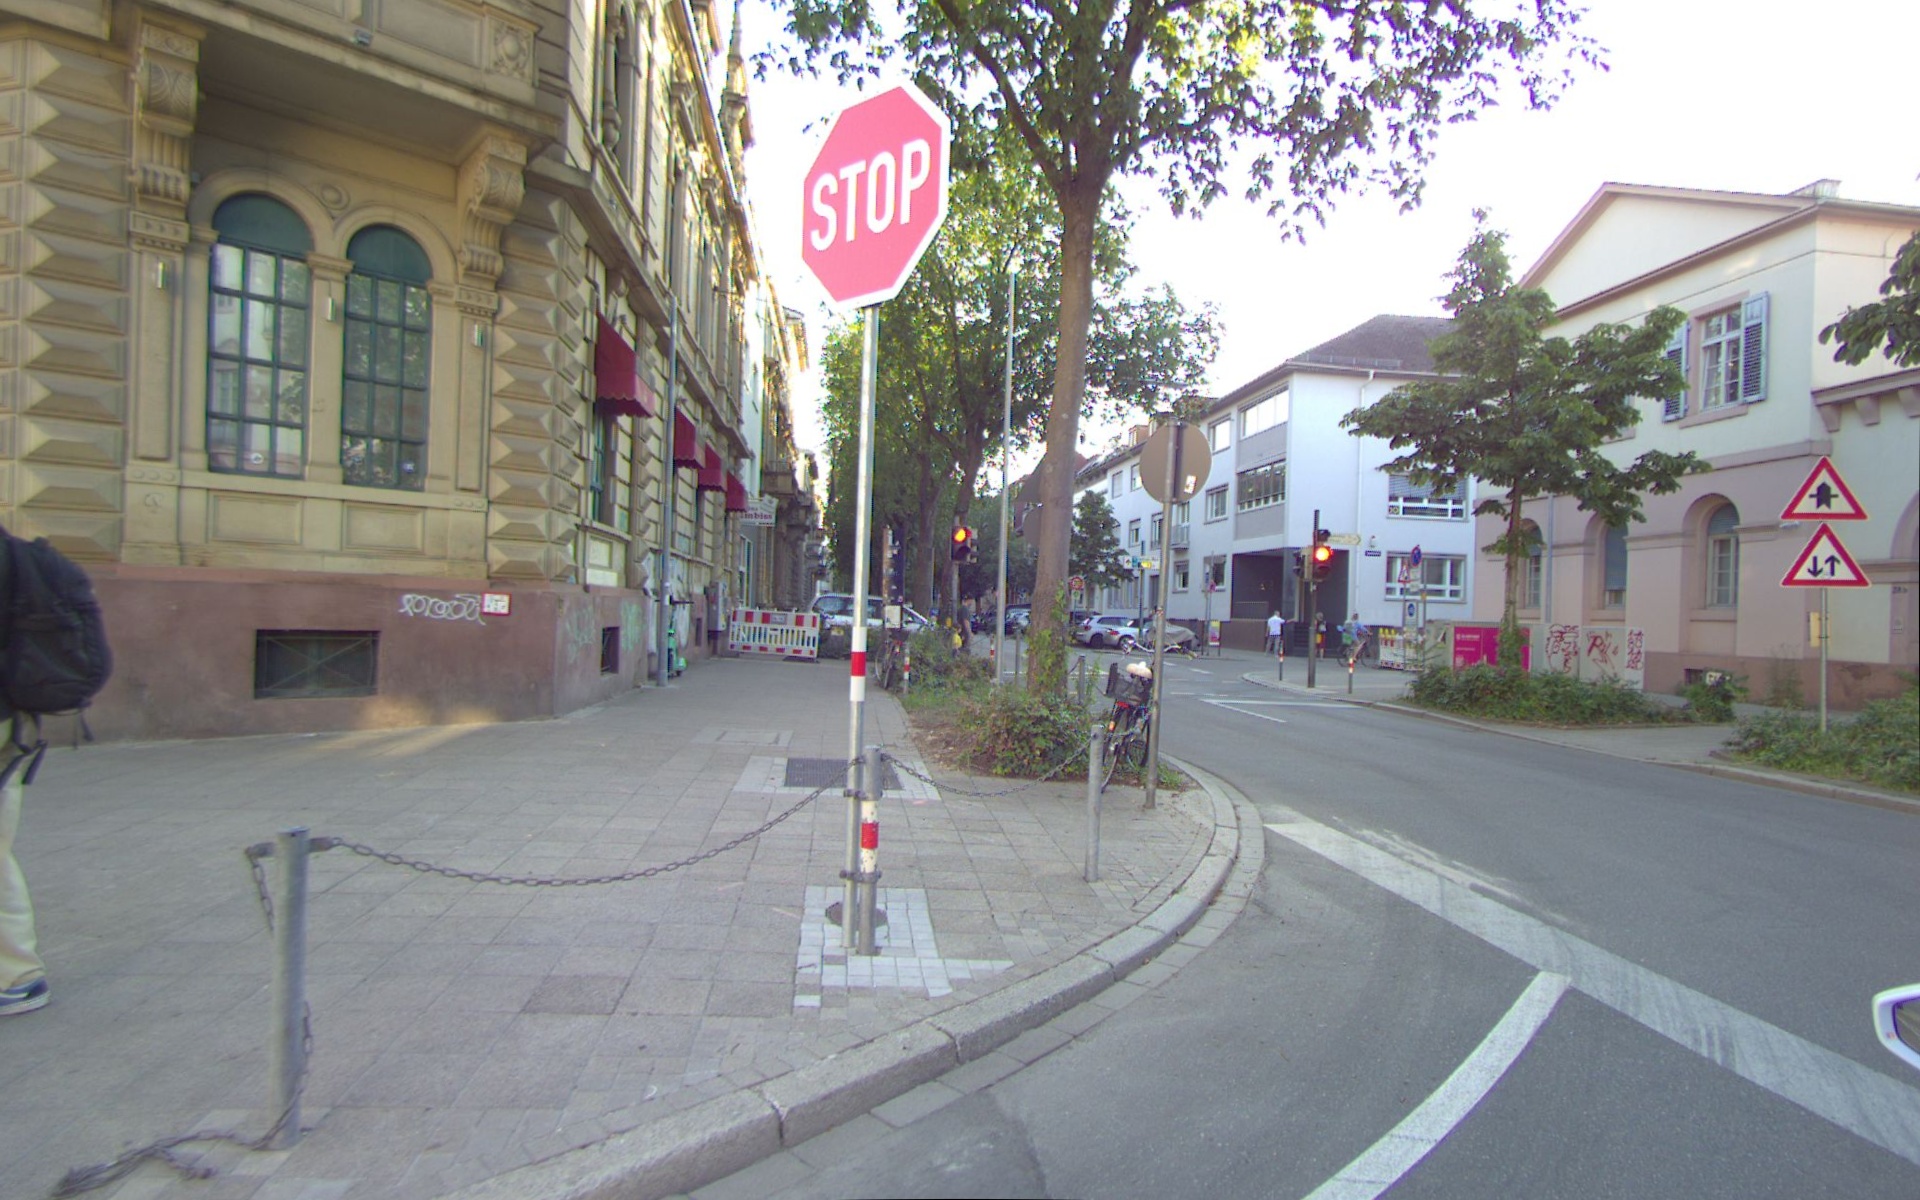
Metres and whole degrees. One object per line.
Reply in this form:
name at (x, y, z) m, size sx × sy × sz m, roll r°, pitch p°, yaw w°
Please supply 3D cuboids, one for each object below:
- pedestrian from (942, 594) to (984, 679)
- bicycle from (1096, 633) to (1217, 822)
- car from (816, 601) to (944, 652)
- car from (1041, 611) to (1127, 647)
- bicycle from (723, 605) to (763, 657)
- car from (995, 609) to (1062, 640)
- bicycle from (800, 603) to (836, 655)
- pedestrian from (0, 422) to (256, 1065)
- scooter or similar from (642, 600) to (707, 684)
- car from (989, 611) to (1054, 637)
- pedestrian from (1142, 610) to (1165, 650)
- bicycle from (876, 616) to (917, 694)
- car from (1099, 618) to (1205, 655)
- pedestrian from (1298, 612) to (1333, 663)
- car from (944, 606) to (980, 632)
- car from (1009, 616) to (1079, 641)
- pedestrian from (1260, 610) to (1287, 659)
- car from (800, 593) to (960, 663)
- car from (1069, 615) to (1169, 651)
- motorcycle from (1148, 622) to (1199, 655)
pedestrian at (0.055, 0.800, 22.501) m, size 0.874 × 1.839 × 0.794 m, roll 2°, pitch 0°, yaw -2°
bicycle at (1.591, 0.956, 8.511) m, size 0.829 × 1.284 × 2.574 m, roll 1°, pitch 0°, yaw 8°
car at (-2.926, 0.966, 36.666) m, size 4.477 × 1.711 × 1.831 m, roll 2°, pitch -1°, yaw -6°
car at (6.166, 1.437, 50.188) m, size 3.952 × 1.713 × 1.705 m, roll 1°, pitch -1°, yaw -7°
bicycle at (-5.321, 0.739, 24.776) m, size 0.626 × 1.217 × 2.562 m, roll 2°, pitch -1°, yaw -5°
car at (4.317, 1.558, 63.526) m, size 3.952 × 1.839 × 1.705 m, roll 1°, pitch -1°, yaw -7°
bicycle at (-3.577, 0.709, 25.496) m, size 0.723 × 1.202 × 2.632 m, roll 3°, pitch -1°, yaw -6°
pedestrian at (-2.965, 0.379, 2.972) m, size 0.838 × 1.762 × 1.260 m, roll 4°, pitch 2°, yaw 42°
scooter or similar at (-4.308, 0.624, 15.219) m, size 0.431 × 1.183 × 1.288 m, roll 3°, pitch -1°, yaw 5°
car at (4.045, 1.597, 66.367) m, size 3.953 × 1.550 × 1.705 m, roll 2°, pitch -1°, yaw -7°
pedestrian at (9.295, 1.444, 48.226) m, size 0.755 × 1.865 × 0.942 m, roll 2°, pitch 0°, yaw -6°
bicycle at (-1.074, 0.879, 16.705) m, size 0.502 × 1.168 × 2.099 m, roll 4°, pitch 0°, yaw -7°
car at (7.840, 1.481, 41.214) m, size 3.952 × 1.360 × 1.705 m, roll 1°, pitch -1°, yaw -6°
pedestrian at (12.851, 1.360, 36.299) m, size 0.915 × 1.775 × 0.771 m, roll 2°, pitch 0°, yaw -2°
car at (0.108, 1.234, 67.501) m, size 1.797 × 1.582 × 4.023 m, roll 3°, pitch -1°, yaw -7°
car at (5.106, 1.725, 61.302) m, size 3.952 × 1.428 × 1.705 m, roll 1°, pitch -1°, yaw -7°
pedestrian at (11.619, 1.283, 37.198) m, size 0.692 × 1.775 × 0.699 m, roll 2°, pitch 0°, yaw -3°
car at (-2.361, 0.807, 29.138) m, size 4.480 × 1.859 × 1.830 m, roll 2°, pitch -1°, yaw -10°
car at (6.899, 1.437, 43.771) m, size 3.952 × 1.461 × 1.705 m, roll 1°, pitch -1°, yaw -7°
motorcycle at (8.078, 1.450, 38.004) m, size 1.770 × 1.215 × 0.613 m, roll 1°, pitch 0°, yaw 2°
